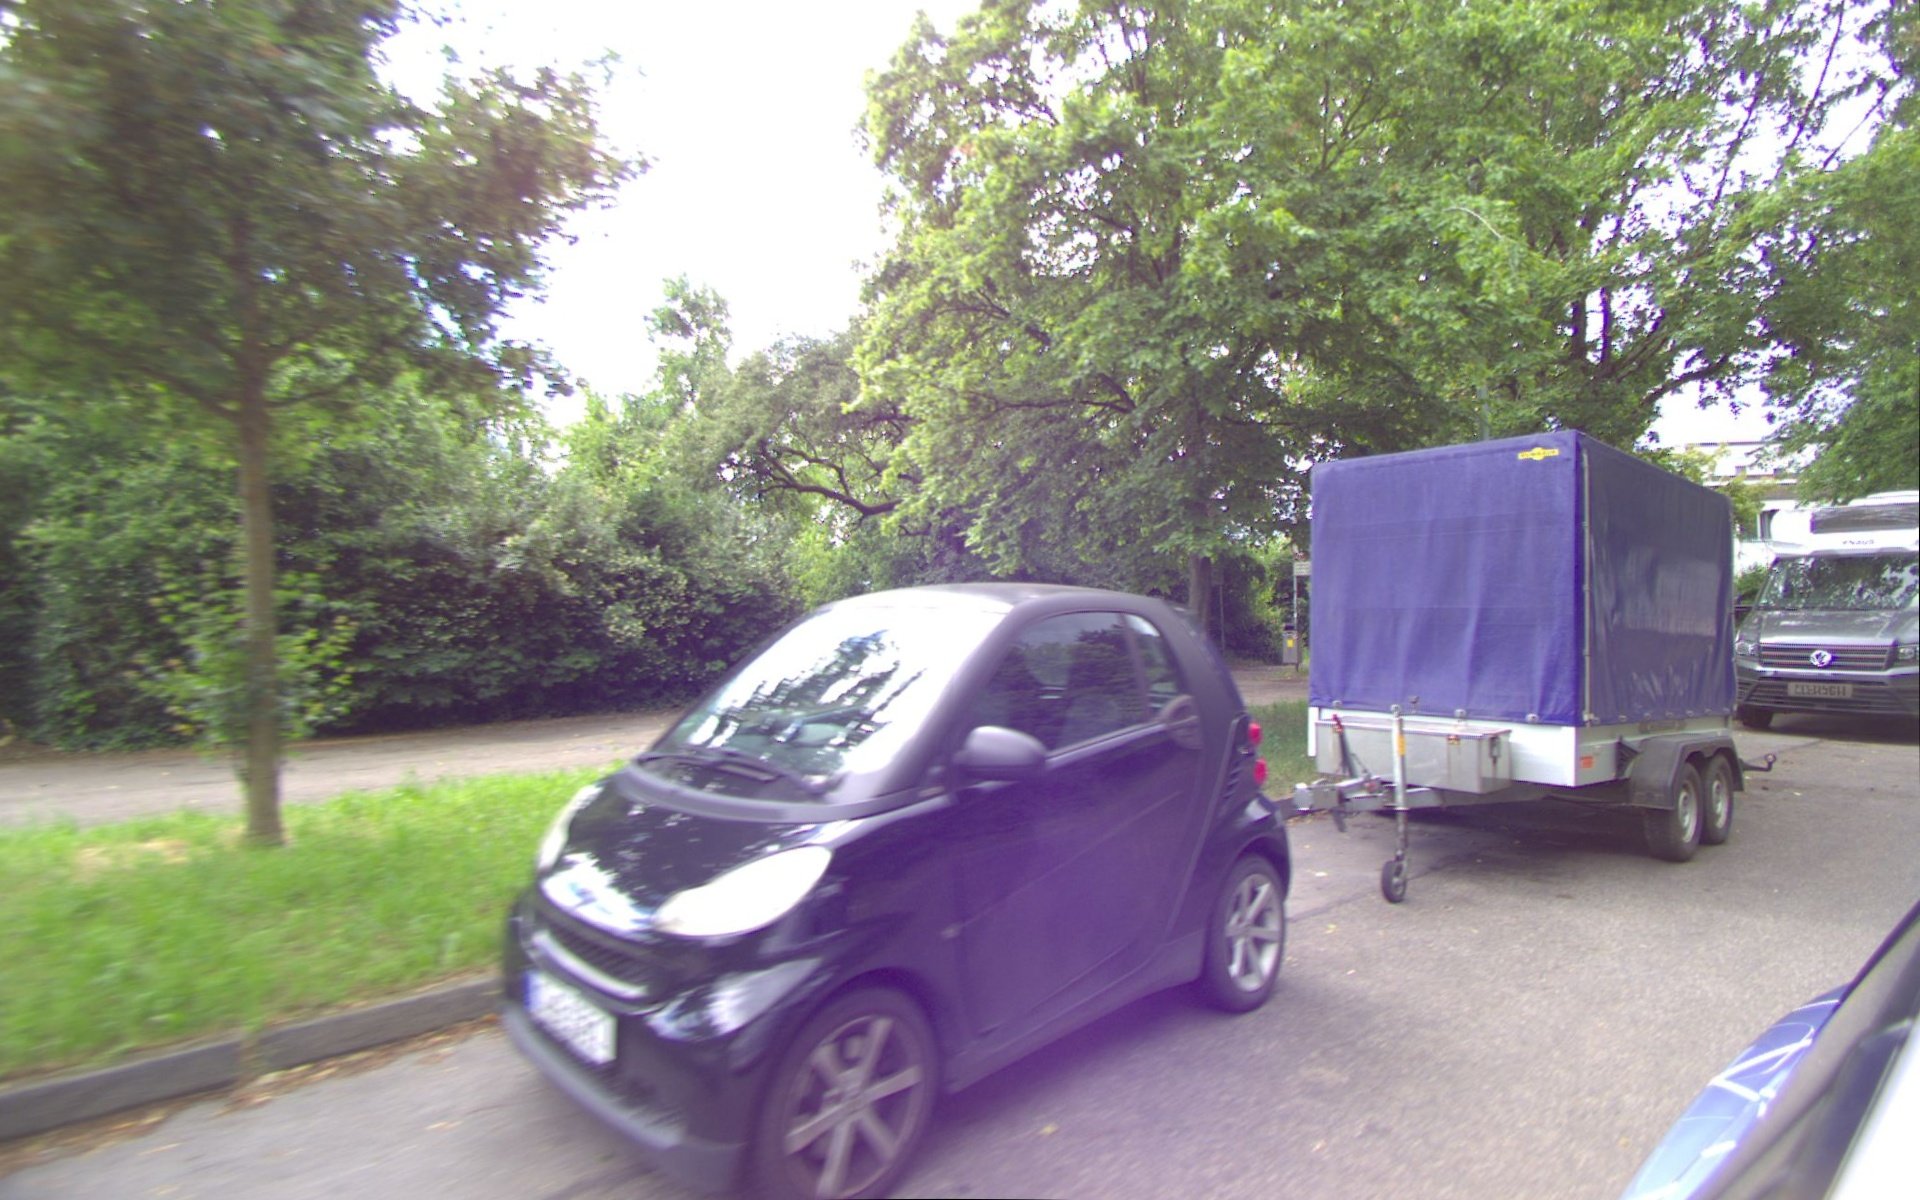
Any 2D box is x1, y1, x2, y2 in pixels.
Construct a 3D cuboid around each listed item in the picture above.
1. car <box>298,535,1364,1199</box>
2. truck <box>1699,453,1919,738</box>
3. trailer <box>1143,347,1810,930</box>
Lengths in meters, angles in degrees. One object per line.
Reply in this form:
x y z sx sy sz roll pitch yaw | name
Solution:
-0.210 0.640 3.583 3.347 1.542 1.731 -1 0 -42 | car
12.381 -0.067 13.196 6.899 2.970 2.311 0 0 -35 | truck
3.516 0.199 6.449 4.616 2.392 2.111 2 -1 -40 | trailer
